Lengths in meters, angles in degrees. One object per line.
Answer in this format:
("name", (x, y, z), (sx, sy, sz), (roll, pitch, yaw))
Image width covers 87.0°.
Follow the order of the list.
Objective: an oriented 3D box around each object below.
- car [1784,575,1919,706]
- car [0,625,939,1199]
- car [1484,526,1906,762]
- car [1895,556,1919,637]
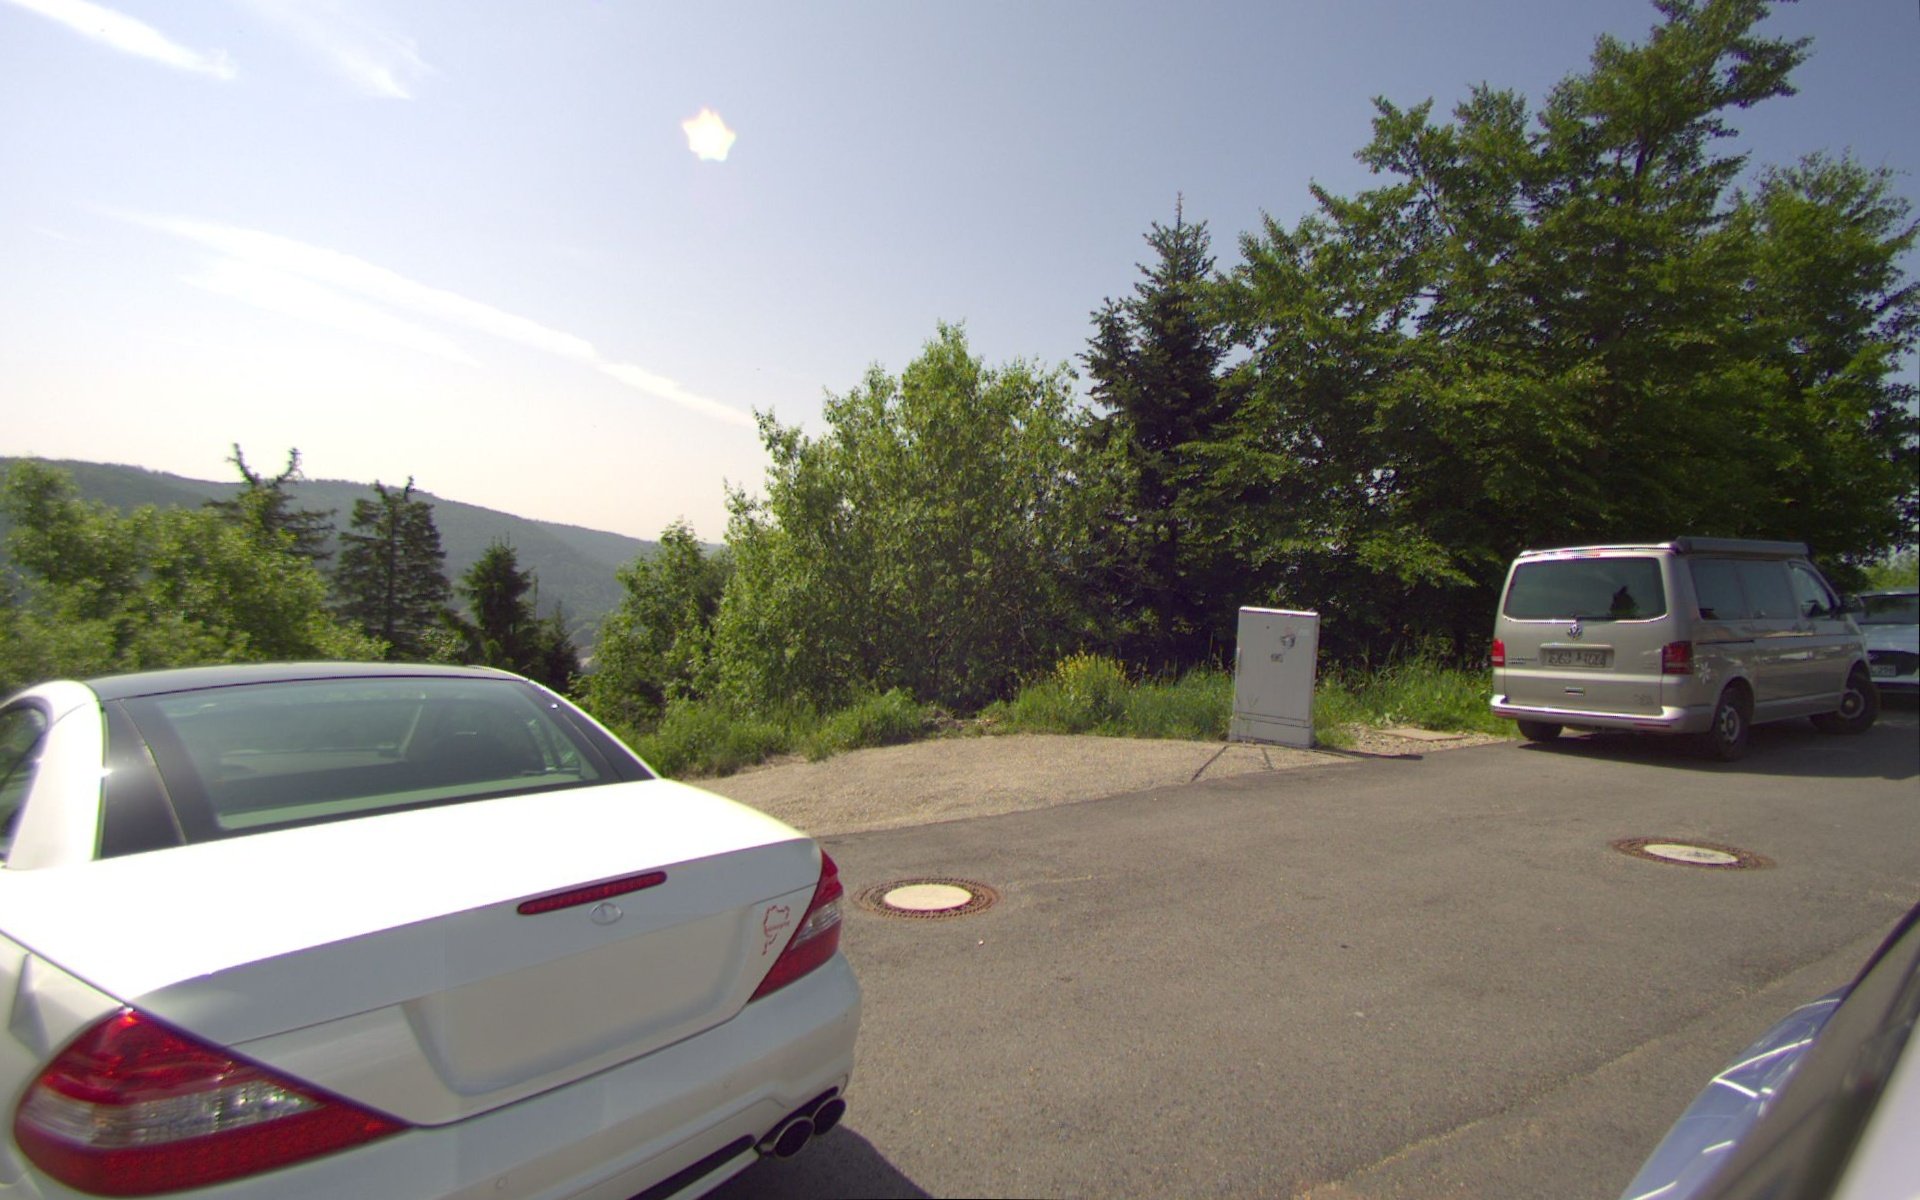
("car", (12.936, 0.475, 13.593), (3.924, 1.567, 1.876), (0, 0, -35))
("car", (-2.260, 0.757, 3.151), (4.392, 1.312, 1.730), (-1, -1, 41))
("car", (7.616, 0.368, 10.385), (4.517, 1.960, 1.864), (0, -1, -31))
("car", (25.383, -0.102, 24.035), (4.434, 1.950, 1.851), (-1, 0, 37))
